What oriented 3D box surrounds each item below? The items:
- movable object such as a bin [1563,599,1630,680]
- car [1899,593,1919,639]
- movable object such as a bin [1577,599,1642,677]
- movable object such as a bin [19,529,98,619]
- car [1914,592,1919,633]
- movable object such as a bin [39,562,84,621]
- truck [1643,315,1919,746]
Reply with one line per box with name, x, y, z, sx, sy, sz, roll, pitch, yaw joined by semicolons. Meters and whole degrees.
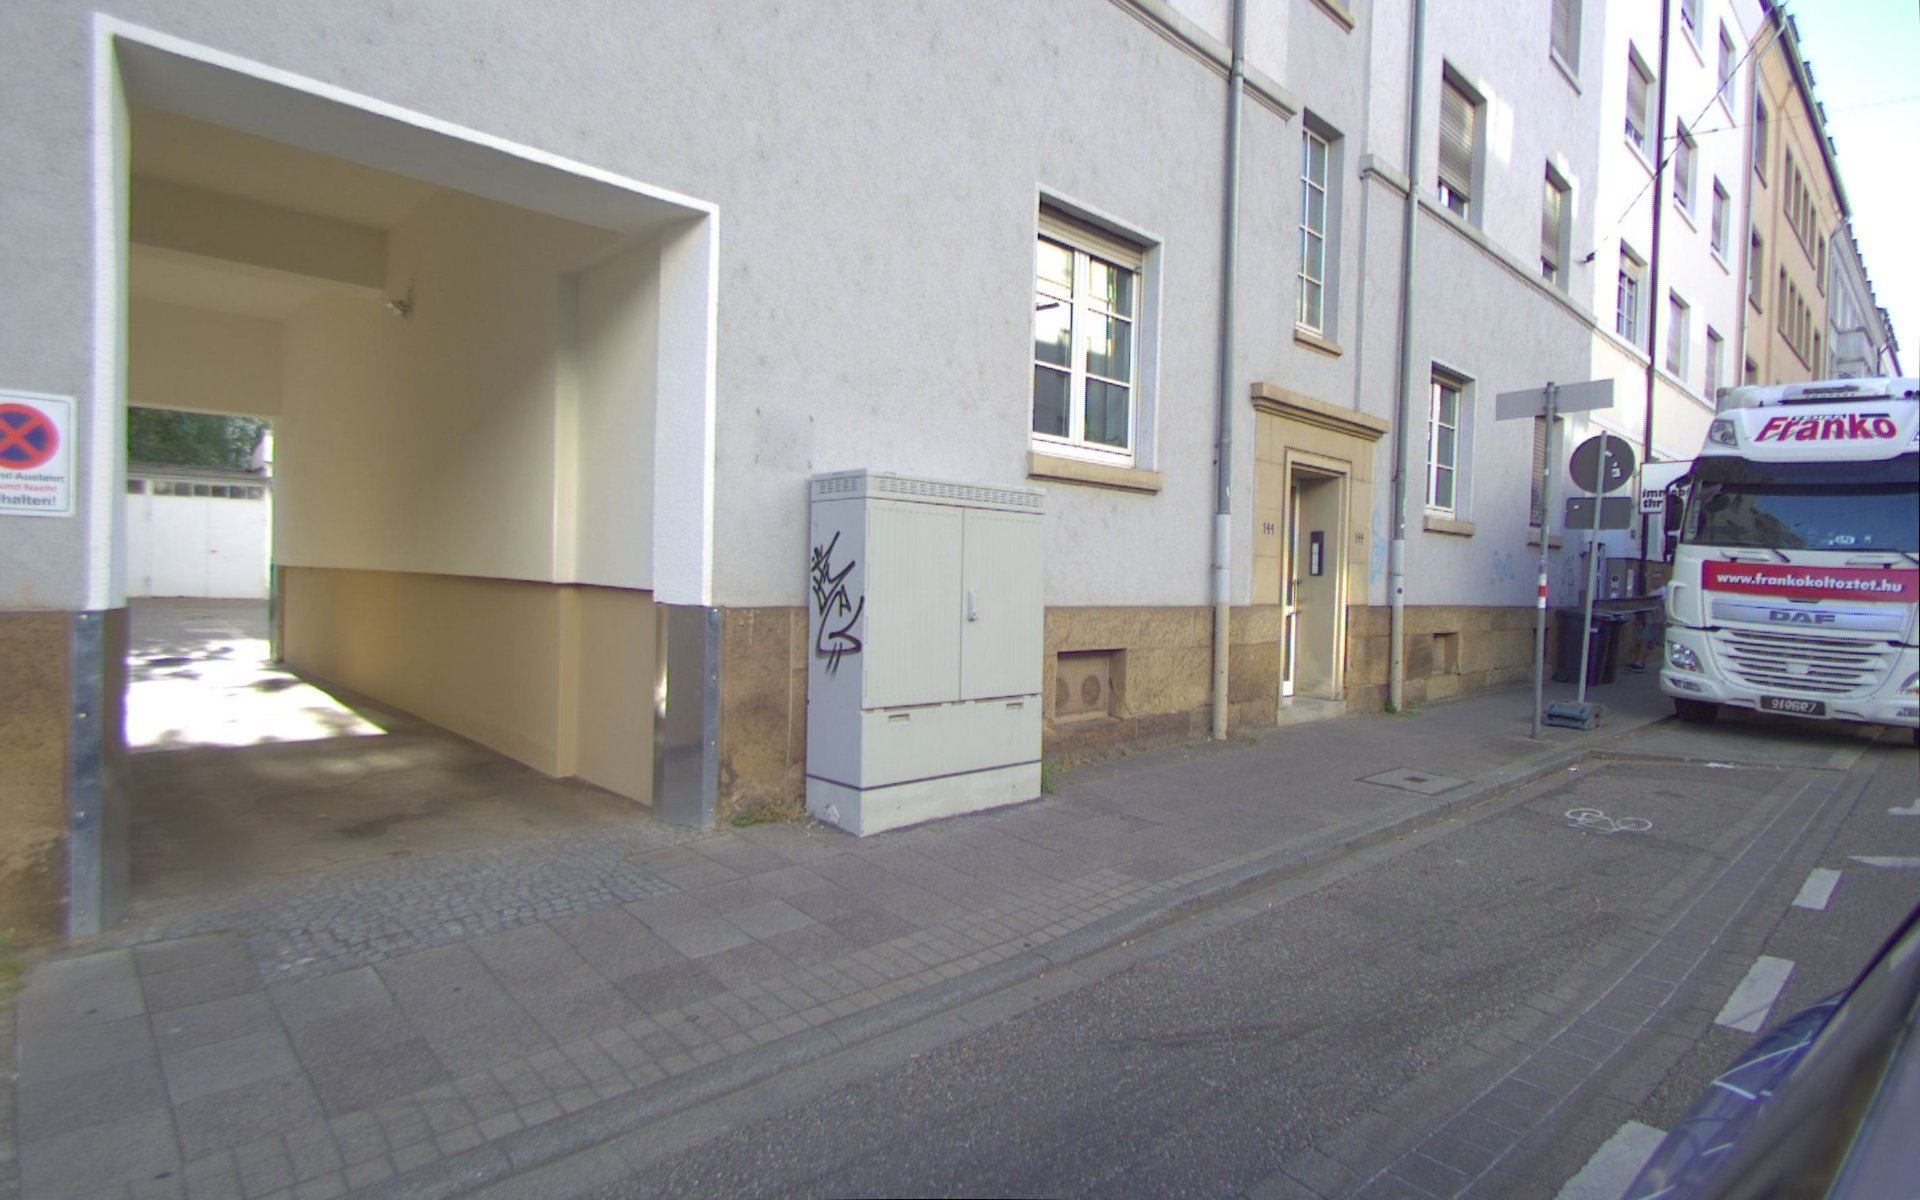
movable object such as a bin;9.167;0.555;14.582;0.560;1.107;0.665;0;2;-43
car;33.500;0.535;34.727;4.080;1.551;1.681;0;0;-44
movable object such as a bin;9.646;0.547;15.033;0.560;1.107;0.665;0;2;-43
movable object such as a bin;-15.158;-0.447;17.011;0.946;1.426;1.597;0;2;-43
car;37.671;0.468;38.625;4.080;1.551;1.681;0;0;-44
movable object such as a bin;-14.381;-0.141;16.193;0.518;0.922;0.580;0;2;-43
truck;12.571;-0.675;13.875;11.621;3.975;2.778;0;2;-44
